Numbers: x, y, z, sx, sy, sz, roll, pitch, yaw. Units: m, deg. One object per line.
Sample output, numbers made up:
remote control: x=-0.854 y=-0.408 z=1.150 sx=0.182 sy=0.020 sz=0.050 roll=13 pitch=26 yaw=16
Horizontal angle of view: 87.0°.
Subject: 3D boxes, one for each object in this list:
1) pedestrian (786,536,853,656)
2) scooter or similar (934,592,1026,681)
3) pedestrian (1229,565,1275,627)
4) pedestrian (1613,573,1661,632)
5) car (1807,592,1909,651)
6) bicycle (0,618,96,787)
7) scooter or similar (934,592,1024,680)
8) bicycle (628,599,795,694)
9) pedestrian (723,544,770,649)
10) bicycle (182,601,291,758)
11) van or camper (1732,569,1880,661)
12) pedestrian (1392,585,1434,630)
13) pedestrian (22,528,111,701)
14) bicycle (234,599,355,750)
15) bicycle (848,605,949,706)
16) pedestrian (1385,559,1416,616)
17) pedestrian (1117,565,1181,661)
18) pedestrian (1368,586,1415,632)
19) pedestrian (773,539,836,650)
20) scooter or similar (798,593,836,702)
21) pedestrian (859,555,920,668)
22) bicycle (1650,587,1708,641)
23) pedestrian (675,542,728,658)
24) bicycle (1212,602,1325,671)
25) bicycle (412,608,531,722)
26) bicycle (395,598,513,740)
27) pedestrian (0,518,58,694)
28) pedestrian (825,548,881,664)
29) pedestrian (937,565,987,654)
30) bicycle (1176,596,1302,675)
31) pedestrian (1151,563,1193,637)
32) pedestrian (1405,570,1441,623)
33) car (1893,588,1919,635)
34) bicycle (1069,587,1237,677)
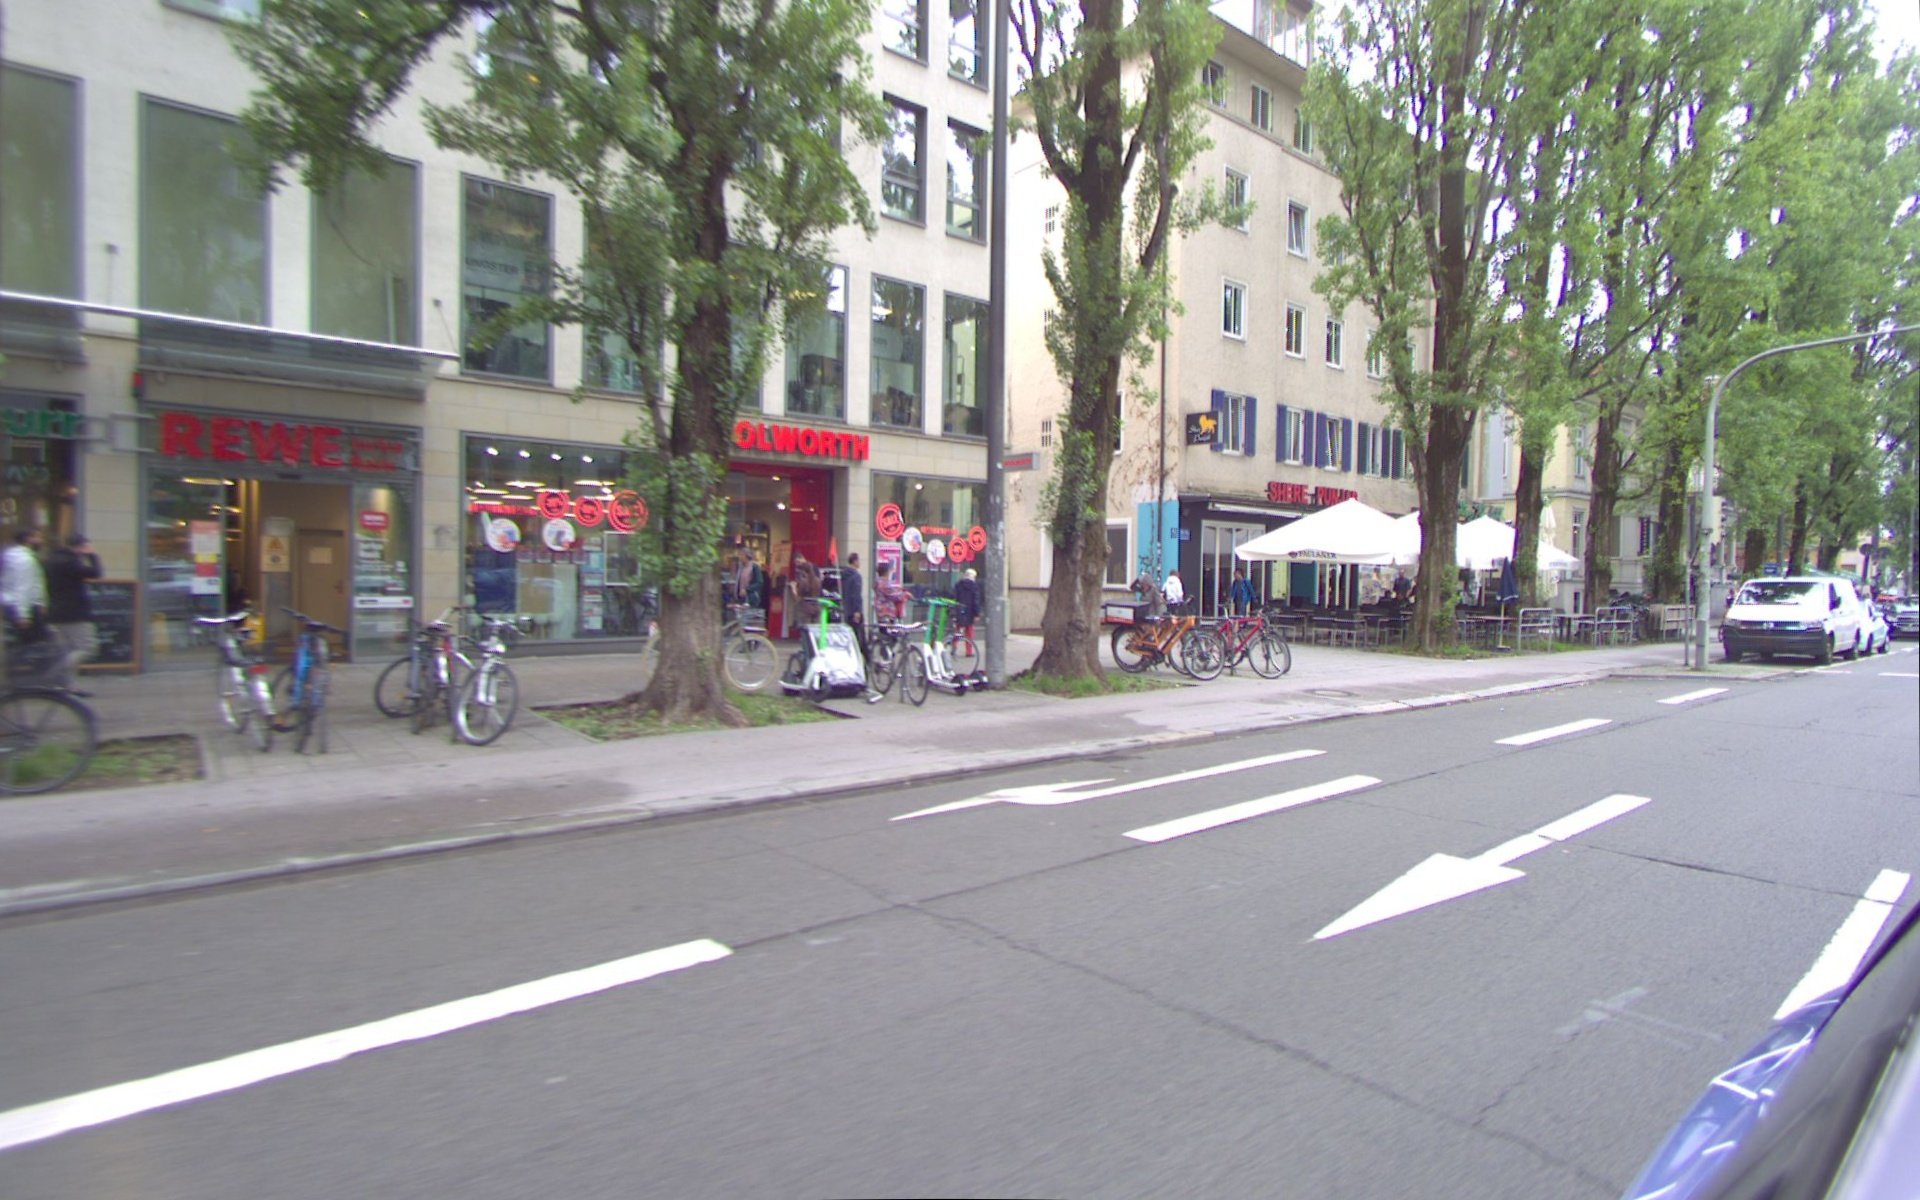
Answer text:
pedestrian: x=-2.290 y=-0.072 z=16.515 sx=0.806 sy=1.893 sz=0.754 roll=0 pitch=1 yaw=-37
scooter or similar: x=0.273 y=0.491 z=13.638 sx=1.221 sy=1.184 sz=0.286 roll=0 pitch=0 yaw=3
pedestrian: x=7.821 y=-0.119 z=27.093 sx=0.998 sy=1.624 sz=0.764 roll=0 pitch=0 yaw=-39
pedestrian: x=20.812 y=0.077 z=31.120 sx=0.819 sy=1.788 sz=0.944 roll=0 pitch=0 yaw=-2
car: x=23.693 y=0.519 z=26.677 sx=3.420 sy=1.414 sz=1.476 roll=0 pitch=2 yaw=-39
bicycle: x=-6.750 y=0.681 z=6.353 sx=0.433 sy=1.074 sz=1.976 roll=2 pitch=2 yaw=40
scooter or similar: x=0.252 y=0.490 z=13.986 sx=1.220 sy=1.184 sz=0.307 roll=0 pitch=0 yaw=0
bicycle: x=-3.004 y=0.534 z=12.384 sx=1.967 sy=1.076 sz=0.393 roll=0 pitch=2 yaw=-36
pedestrian: x=-3.752 y=-0.063 z=17.787 sx=0.630 sy=1.790 sz=0.547 roll=0 pitch=0 yaw=-41
bicycle: x=-5.941 y=0.605 z=8.279 sx=1.670 sy=1.131 sz=0.282 roll=2 pitch=1 yaw=39
van or camper: x=19.630 y=0.285 z=23.420 sx=4.483 sy=1.929 sz=1.795 roll=0 pitch=1 yaw=-39
pedestrian: x=12.630 y=0.195 z=28.204 sx=1.004 sy=1.231 sz=0.668 roll=0 pitch=0 yaw=-36
pedestrian: x=-9.381 y=0.134 z=10.641 sx=0.679 sy=1.731 sz=0.657 roll=0 pitch=1 yaw=-41
bicycle: x=-5.664 y=0.582 z=8.574 sx=1.658 sy=1.121 sz=0.391 roll=2 pitch=1 yaw=40
bicycle: x=-0.771 y=0.617 z=12.071 sx=0.385 sy=1.021 sz=1.848 roll=0 pitch=2 yaw=-30
pedestrian: x=13.743 y=-0.394 z=31.572 sx=0.668 sy=1.741 sz=0.629 roll=0 pitch=0 yaw=-39
pedestrian: x=3.308 y=0.213 z=17.747 sx=0.778 sy=1.608 sz=0.712 roll=1 pitch=2 yaw=-33
pedestrian: x=11.750 y=0.233 z=27.559 sx=1.004 sy=1.231 sz=0.775 roll=0 pitch=0 yaw=-36
pedestrian: x=-2.706 y=-0.097 z=17.610 sx=0.806 sy=1.877 sz=0.754 roll=0 pitch=0 yaw=-38
scooter or similar: x=-1.693 y=0.527 z=11.906 sx=0.395 sy=1.184 sz=1.247 roll=0 pitch=1 yaw=-10
pedestrian: x=-1.075 y=0.163 z=15.411 sx=0.737 sy=1.669 sz=0.548 roll=0 pitch=0 yaw=-37
bicycle: x=20.016 y=0.359 z=28.225 sx=0.819 sy=1.429 sz=2.578 roll=1 pitch=1 yaw=24
pedestrian: x=-4.127 y=-0.003 z=16.130 sx=0.630 sy=1.790 sz=0.595 roll=0 pitch=0 yaw=-37
bicycle: x=5.140 y=0.585 z=16.947 sx=0.494 sy=1.022 sz=1.844 roll=0 pitch=2 yaw=-39
bicycle: x=-4.970 y=0.614 z=10.222 sx=1.998 sy=1.000 sz=0.387 roll=1 pitch=1 yaw=43
bicycle: x=-4.696 y=0.585 z=9.332 sx=1.865 sy=1.149 sz=0.334 roll=2 pitch=2 yaw=43
pedestrian: x=-10.150 y=0.054 z=10.866 sx=0.679 sy=1.842 sz=0.622 roll=0 pitch=1 yaw=-41
pedestrian: x=-1.680 y=0.083 z=15.879 sx=0.683 sy=1.764 sz=0.566 roll=0 pitch=0 yaw=-37
pedestrian: x=0.039 y=0.157 z=17.950 sx=0.683 sy=1.539 sz=0.566 roll=0 pitch=0 yaw=-37
bicycle: x=4.463 y=0.533 z=16.308 sx=0.673 sy=1.141 sz=1.902 roll=0 pitch=2 yaw=-39
pedestrian: x=4.930 y=-0.012 z=23.534 sx=0.680 sy=1.685 sz=0.667 roll=0 pitch=0 yaw=-41
pedestrian: x=14.187 y=-0.121 z=31.038 sx=0.858 sy=1.597 sz=0.696 roll=0 pitch=0 yaw=-39
car: x=33.622 y=0.383 z=35.019 sx=3.537 sy=1.546 sz=1.476 roll=0 pitch=1 yaw=-39
bicycle: x=2.969 y=0.447 z=15.850 sx=0.948 sy=1.230 sz=2.577 roll=0 pitch=2 yaw=-39
